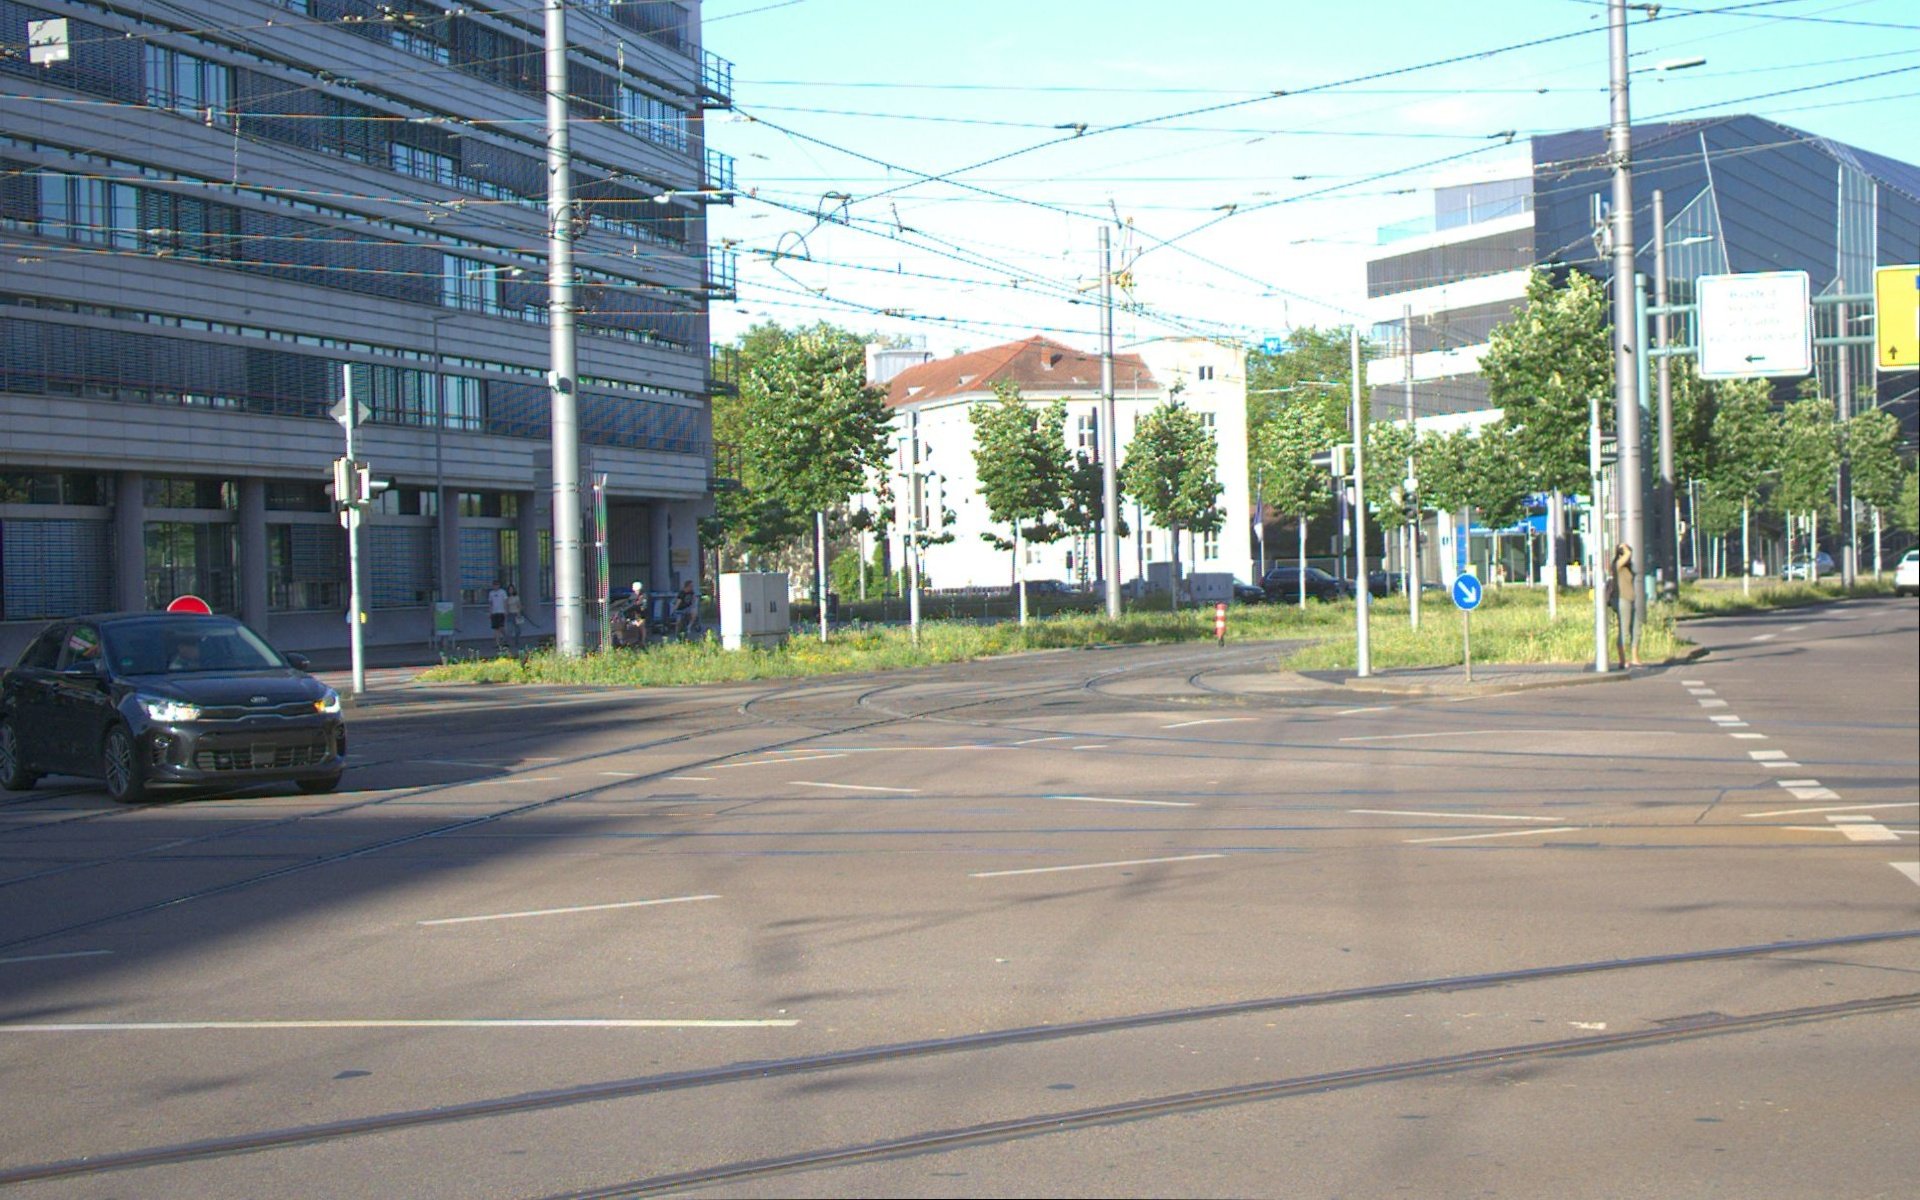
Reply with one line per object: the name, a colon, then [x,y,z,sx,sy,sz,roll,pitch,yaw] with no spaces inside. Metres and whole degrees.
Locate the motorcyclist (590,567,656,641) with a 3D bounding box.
motorcyclist: [-8.113,0.092,82.730,1.020,1.725,1.459,-1,0,20]

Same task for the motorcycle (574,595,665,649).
motorcycle: [-8.161,0.513,82.615,0.984,1.227,2.940,-1,0,20]

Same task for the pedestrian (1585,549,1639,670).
pedestrian: [8.559,0.119,45.143,0.657,1.577,0.489,-1,1,13]

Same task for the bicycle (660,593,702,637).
bicycle: [-7.337,0.394,90.486,0.643,1.104,1.684,-1,1,11]

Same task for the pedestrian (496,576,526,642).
pedestrian: [-11.977,0.230,91.785,0.548,1.727,0.641,-1,1,15]

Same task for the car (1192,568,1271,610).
car: [13.361,-0.524,169.334,1.993,2.007,4.000,-2,1,-27]

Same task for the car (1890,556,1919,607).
car: [29.520,-0.559,104.280,1.904,1.503,3.995,0,0,24]

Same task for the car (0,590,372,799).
car: [-6.405,0.688,27.232,1.791,1.461,4.310,-2,1,-34]

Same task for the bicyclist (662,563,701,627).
bicyclist: [-7.344,-0.132,90.536,0.764,1.661,0.993,-1,0,11]

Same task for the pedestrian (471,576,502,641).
pedestrian: [-12.641,0.228,91.793,0.548,1.727,0.641,-1,1,15]
